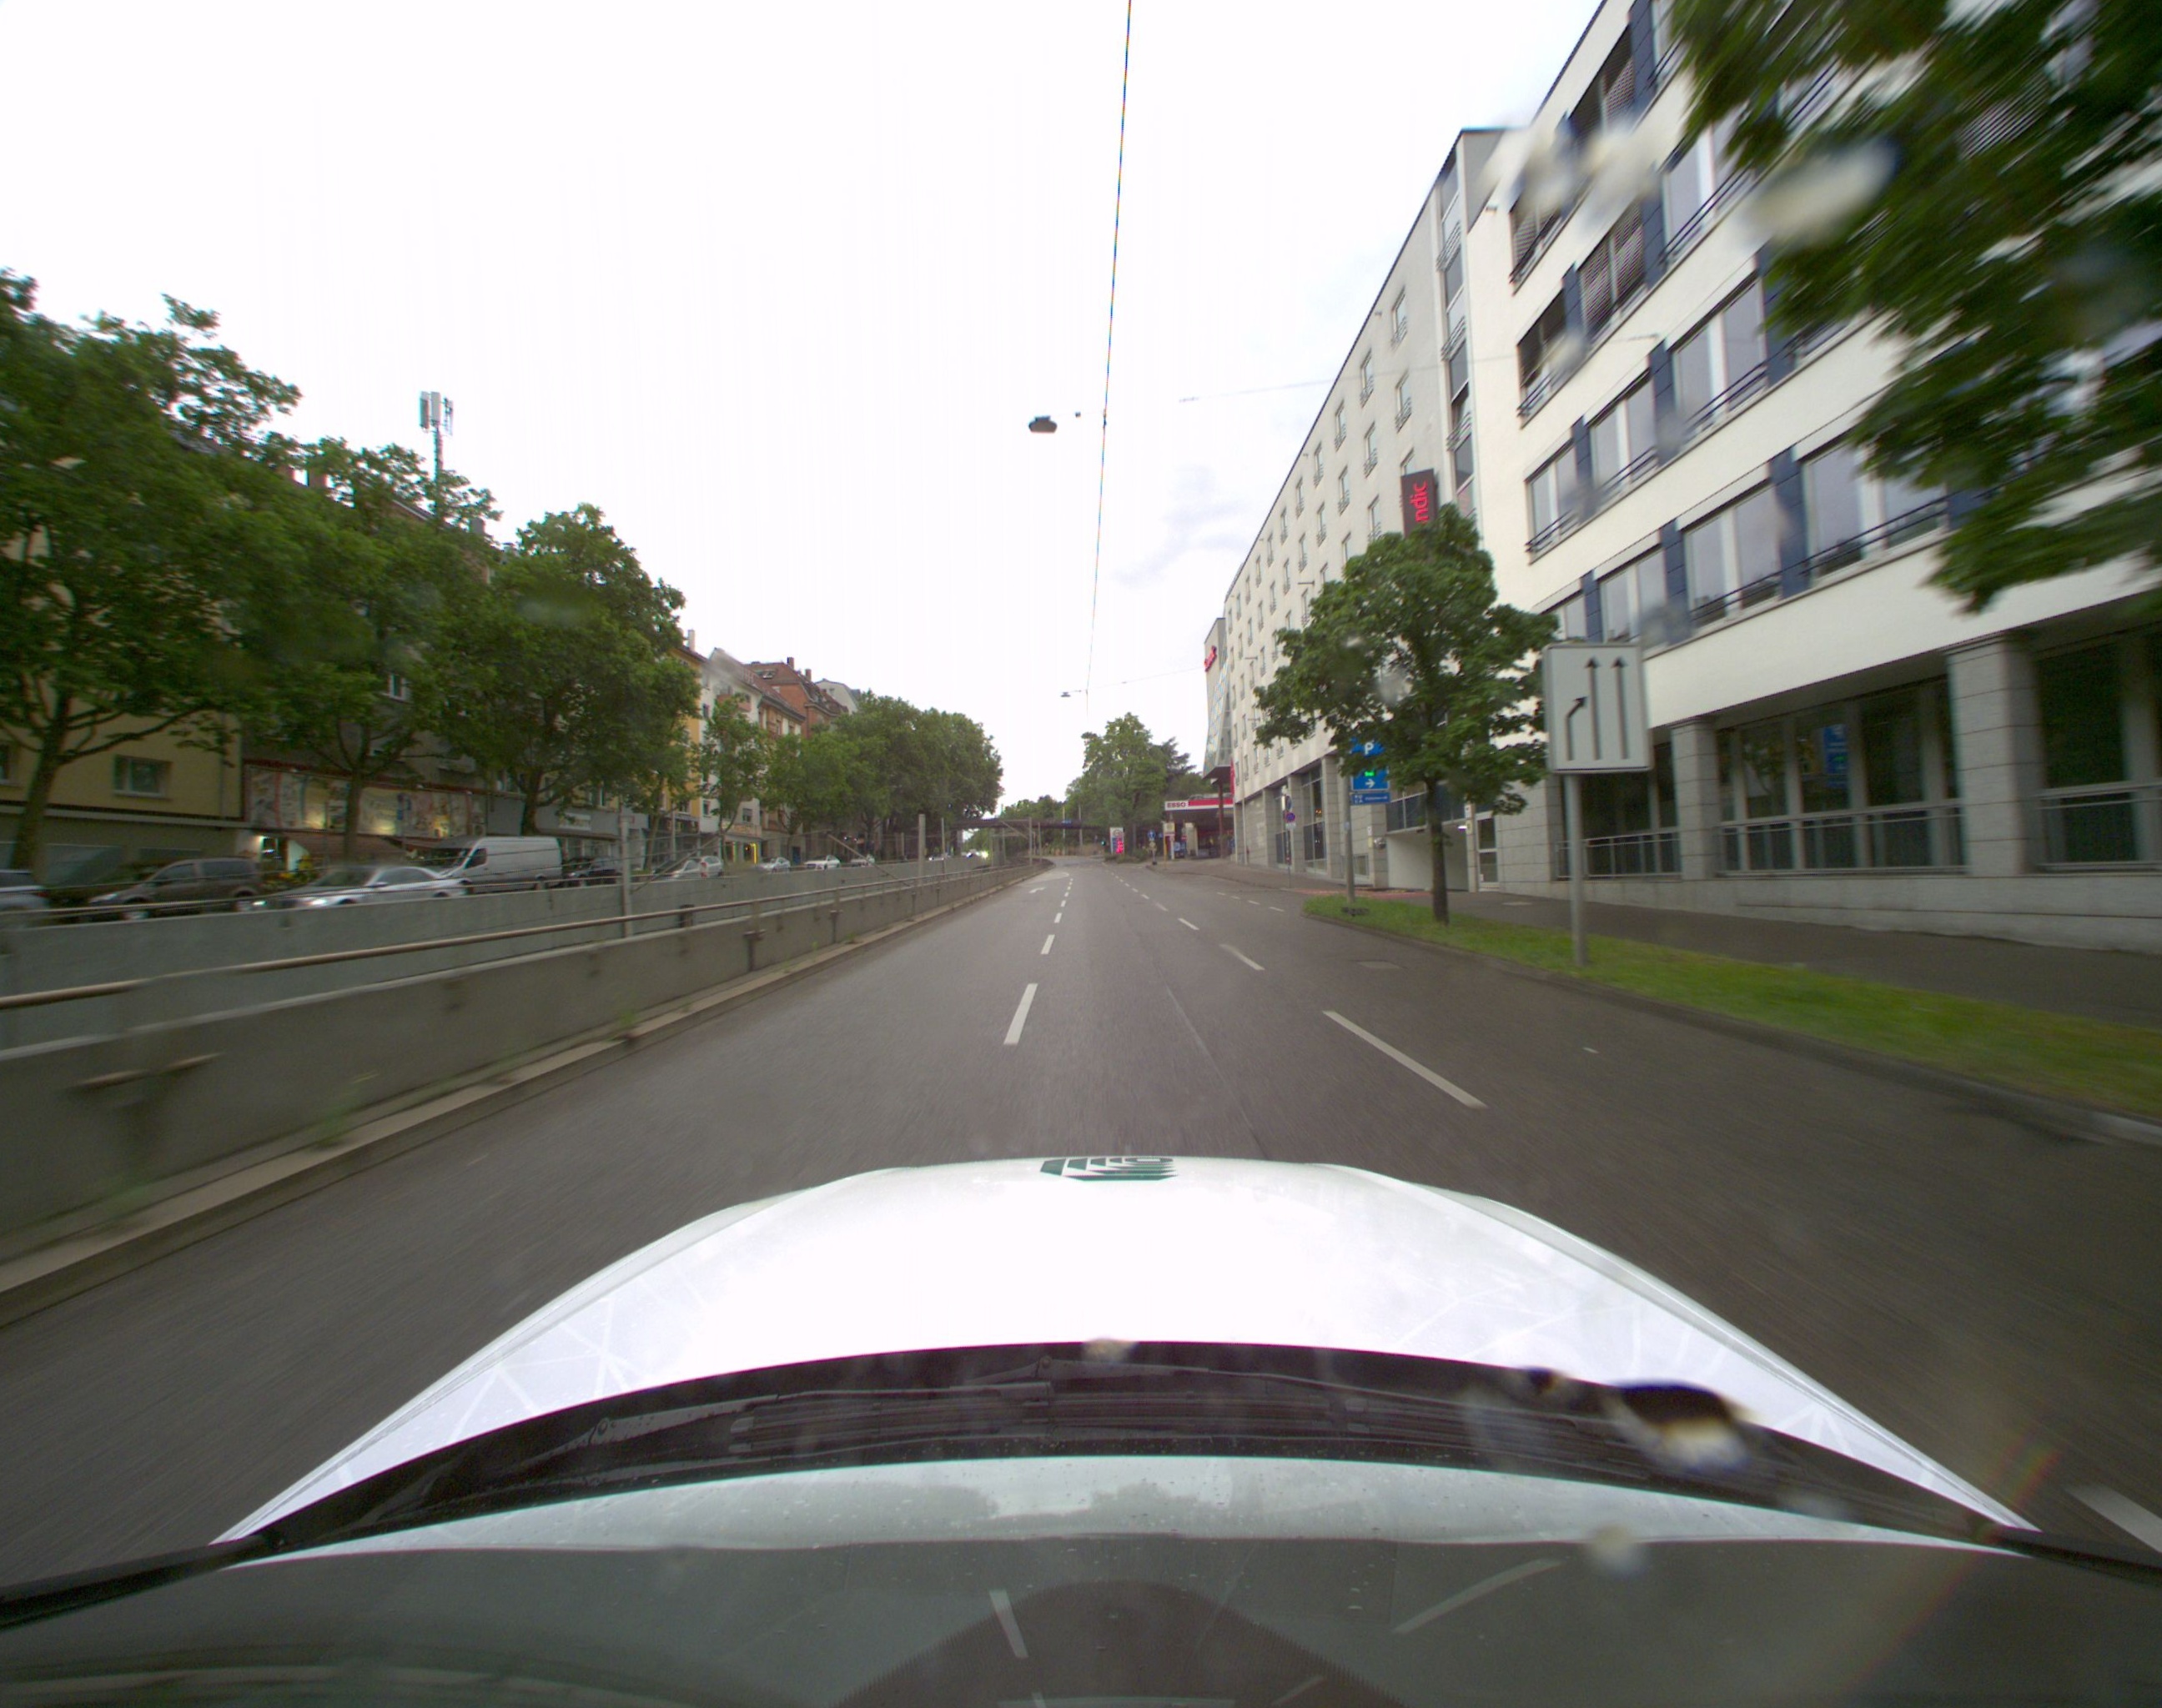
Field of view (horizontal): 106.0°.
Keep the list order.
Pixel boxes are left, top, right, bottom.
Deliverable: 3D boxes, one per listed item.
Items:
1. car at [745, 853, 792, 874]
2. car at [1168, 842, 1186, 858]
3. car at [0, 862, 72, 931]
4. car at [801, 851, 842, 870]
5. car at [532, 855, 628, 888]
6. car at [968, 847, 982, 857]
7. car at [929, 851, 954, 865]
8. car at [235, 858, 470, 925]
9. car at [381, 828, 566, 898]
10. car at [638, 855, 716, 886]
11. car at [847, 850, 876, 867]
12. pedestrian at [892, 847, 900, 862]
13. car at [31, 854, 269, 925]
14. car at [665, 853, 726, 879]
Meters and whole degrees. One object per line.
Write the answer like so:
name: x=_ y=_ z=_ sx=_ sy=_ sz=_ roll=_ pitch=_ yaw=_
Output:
car: x=-23.852 y=0.707 z=62.319 sx=1.787 sy=1.510 sz=4.210 roll=0 pitch=0 yaw=2
car: x=10.760 y=-0.405 z=91.235 sx=1.762 sy=1.623 sz=3.876 roll=-4 pitch=-1 yaw=9
car: x=-26.076 y=1.021 z=18.013 sx=1.870 sy=1.583 sz=4.473 roll=0 pitch=0 yaw=1
car: x=-23.333 y=0.571 z=73.523 sx=1.920 sy=1.601 sz=5.201 roll=0 pitch=0 yaw=2
car: x=-24.965 y=0.847 z=40.777 sx=1.787 sy=1.510 sz=4.674 roll=0 pitch=0 yaw=2
car: x=-20.731 y=-0.468 z=159.490 sx=1.948 sy=1.852 sz=4.971 roll=0 pitch=0 yaw=3
car: x=-15.835 y=0.400 z=92.784 sx=2.020 sy=1.510 sz=4.882 roll=0 pitch=0 yaw=0
car: x=-19.211 y=0.915 z=21.865 sx=1.839 sy=1.510 sz=4.824 roll=0 pitch=0 yaw=2
car: x=-25.369 y=0.324 z=34.538 sx=2.443 sy=2.662 sz=6.935 roll=0 pitch=0 yaw=2
car: x=-20.959 y=0.818 z=42.437 sx=1.838 sy=1.510 sz=4.021 roll=0 pitch=0 yaw=4
car: x=-22.697 y=0.451 z=84.342 sx=1.788 sy=1.611 sz=4.113 roll=0 pitch=0 yaw=1
pedestrian: x=-24.326 y=0.053 z=107.063 sx=0.666 sy=2.014 sz=0.935 roll=0 pitch=-1 yaw=4
car: x=-25.629 y=0.894 z=22.694 sx=1.789 sy=1.729 sz=4.205 roll=0 pitch=0 yaw=-1
car: x=-24.496 y=0.750 z=51.926 sx=1.787 sy=1.571 sz=4.210 roll=0 pitch=0 yaw=2
